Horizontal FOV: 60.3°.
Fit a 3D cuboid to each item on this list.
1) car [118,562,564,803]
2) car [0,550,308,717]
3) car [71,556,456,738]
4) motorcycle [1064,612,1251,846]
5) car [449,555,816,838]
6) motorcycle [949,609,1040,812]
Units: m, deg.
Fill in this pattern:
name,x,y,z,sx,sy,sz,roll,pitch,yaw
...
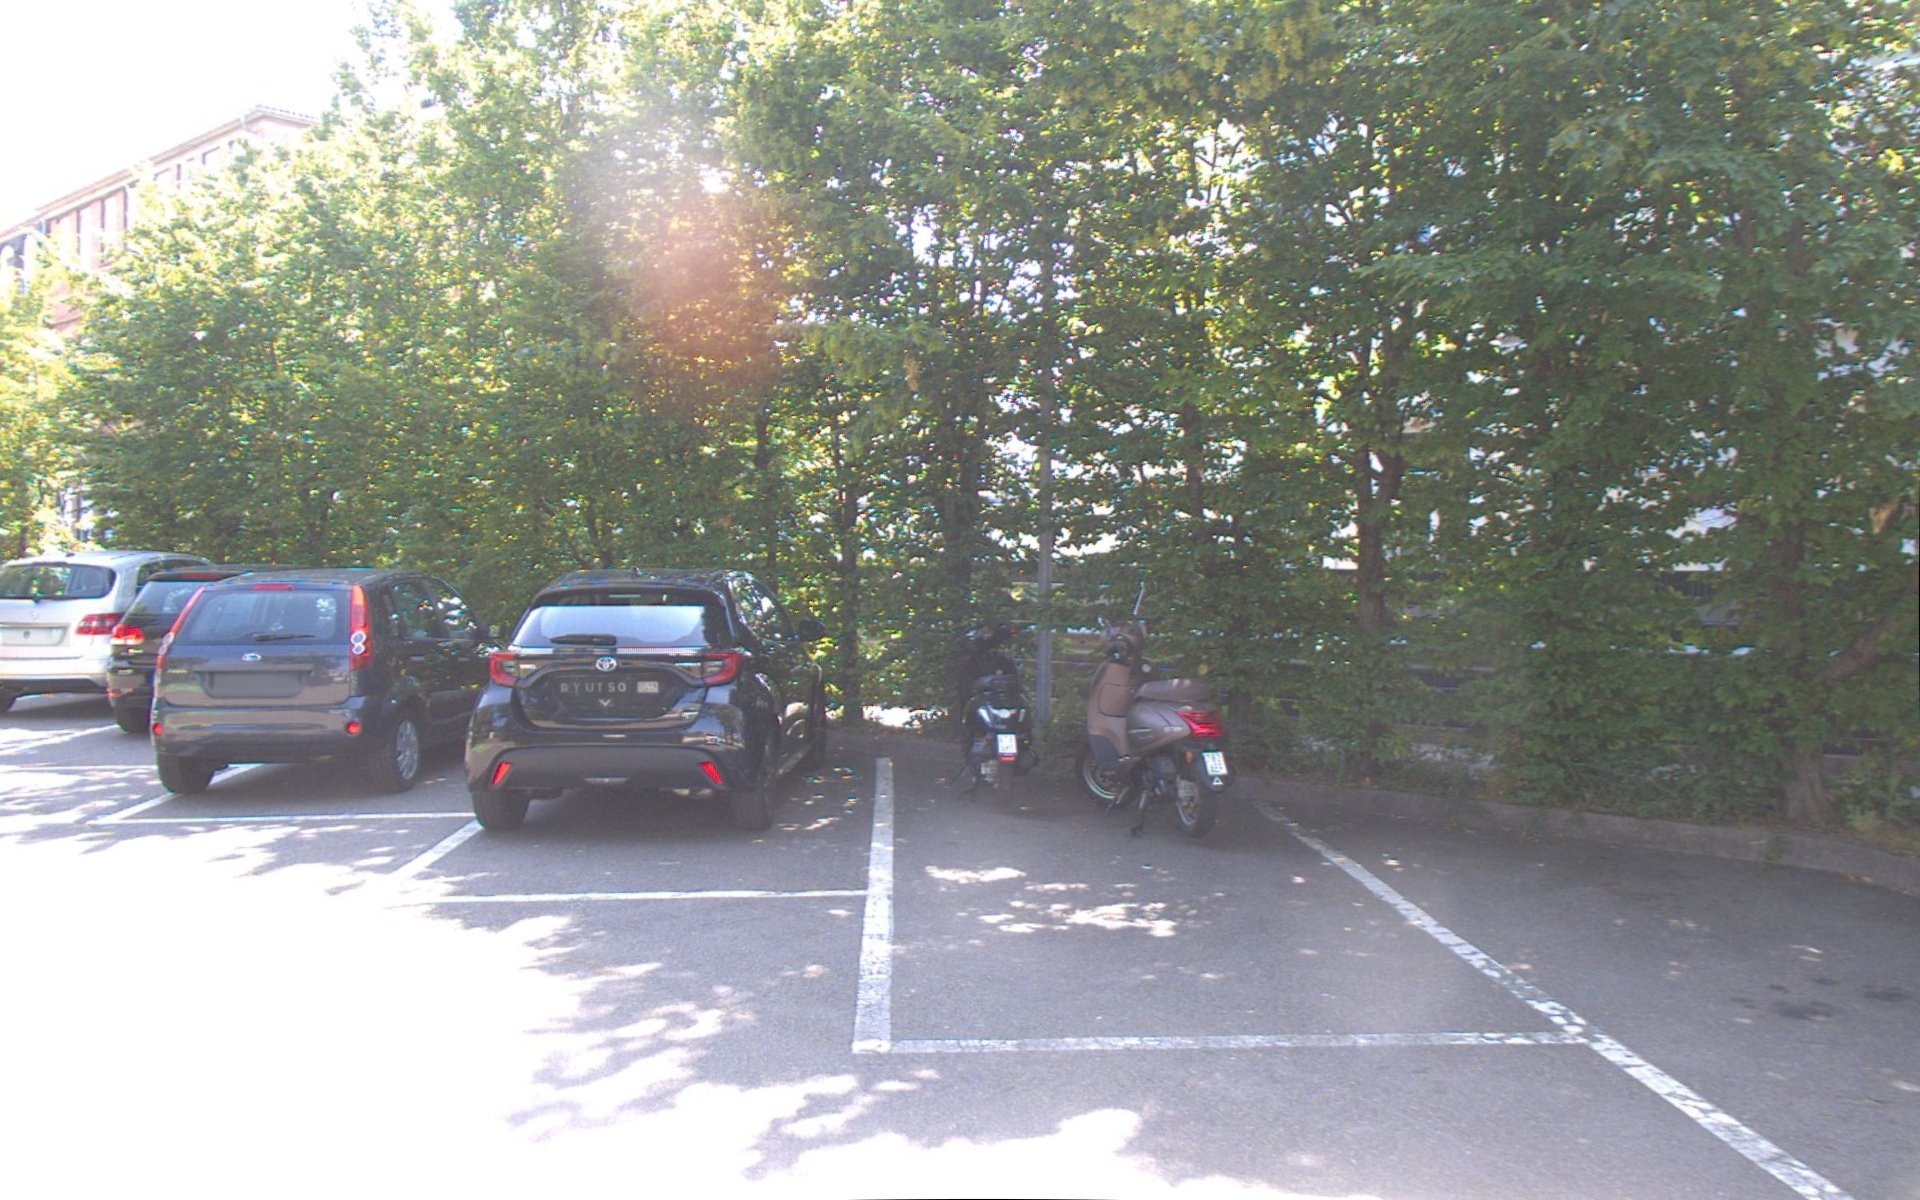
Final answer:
name,x,y,z,sx,sy,sz,roll,pitch,yaw
car,-4.390,0.478,12.444,1.663,1.478,4.002,0,2,3
car,-8.789,0.266,17.847,1.731,1.599,4.002,0,2,3
car,-6.499,0.350,15.966,1.731,1.495,4.003,0,2,5
motorcycle,1.094,0.680,9.490,0.558,1.189,1.600,0,1,-13
car,-1.948,0.472,10.945,1.621,1.495,3.905,0,2,0
motorcycle,0.198,0.656,10.580,0.464,1.160,1.605,0,1,-3
